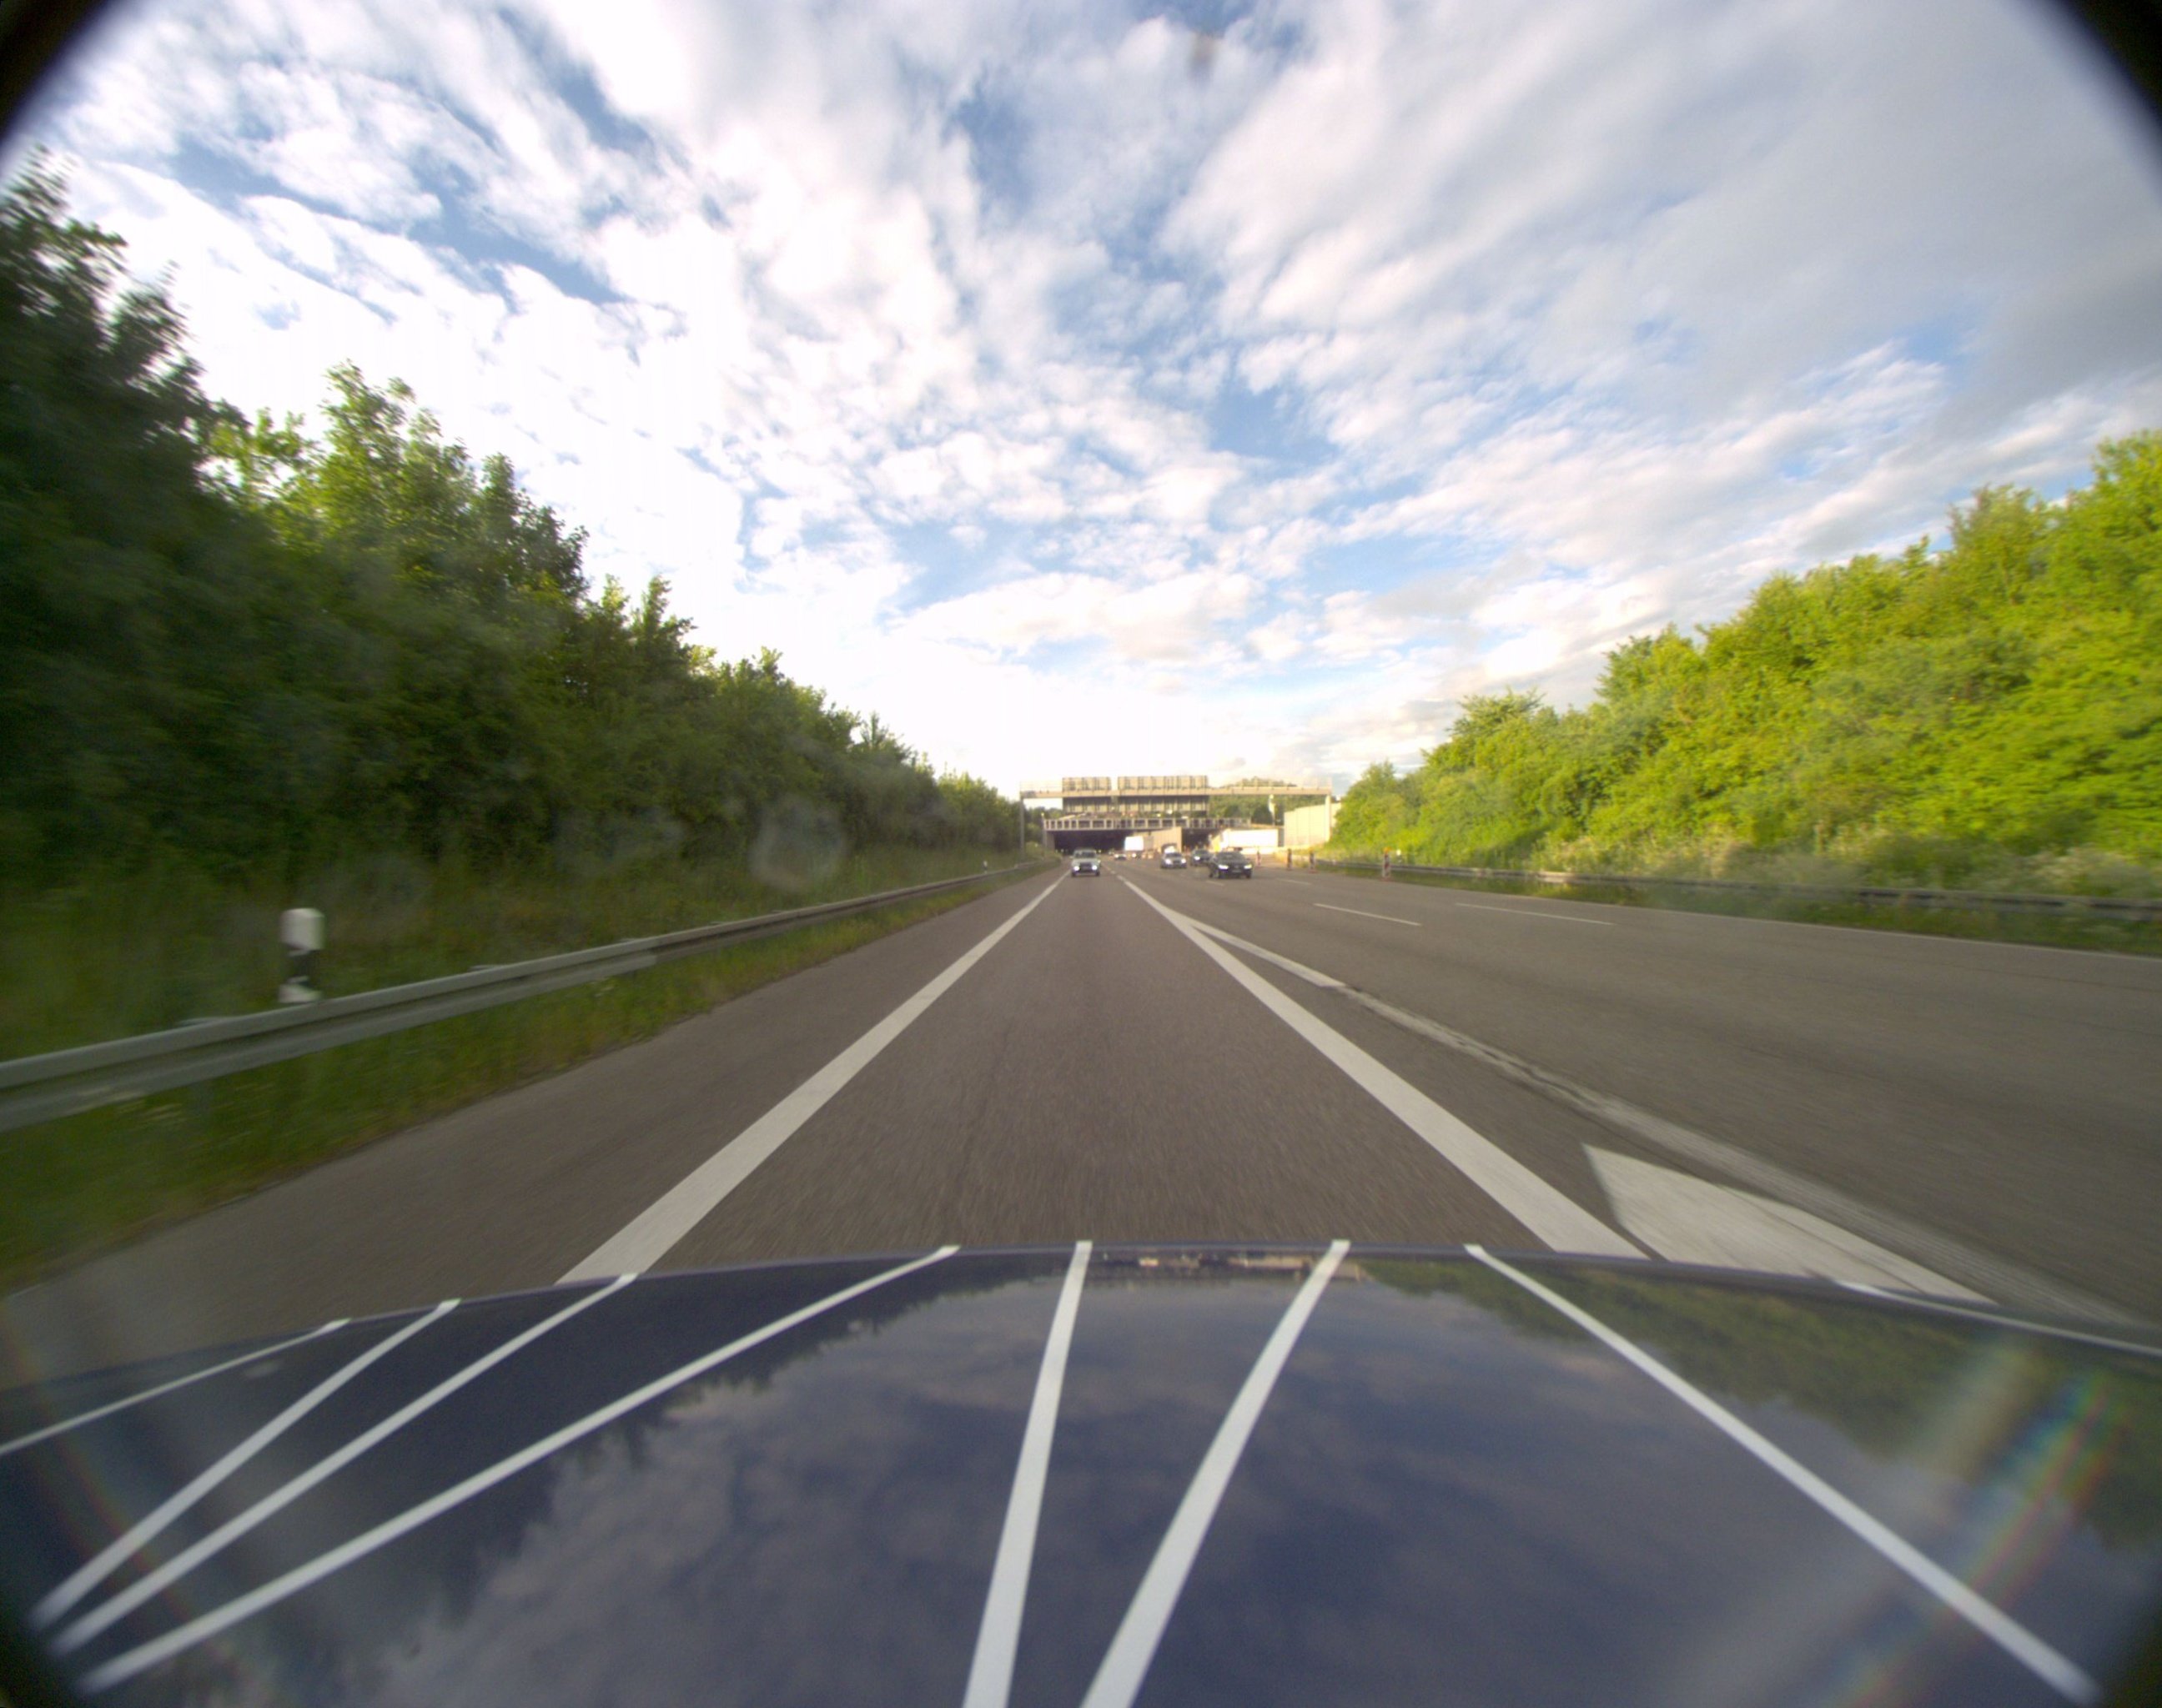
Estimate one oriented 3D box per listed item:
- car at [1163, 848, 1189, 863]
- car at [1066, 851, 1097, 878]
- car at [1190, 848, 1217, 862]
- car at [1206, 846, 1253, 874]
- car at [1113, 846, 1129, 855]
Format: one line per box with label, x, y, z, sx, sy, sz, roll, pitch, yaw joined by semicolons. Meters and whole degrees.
car;8.083;0.105;64.917;1.797;1.284;4.000;-1;1;1
car;0.060;0.650;51.071;1.904;1.655;4.000;-2;1;2
car;11.431;0.081;71.225;1.880;1.284;4.000;-2;1;1
car;7.767;0.296;40.065;1.762;1.398;4.000;-1;1;1
car;6.899;-0.561;131.602;1.999;1.472;4.944;-1;1;-4
